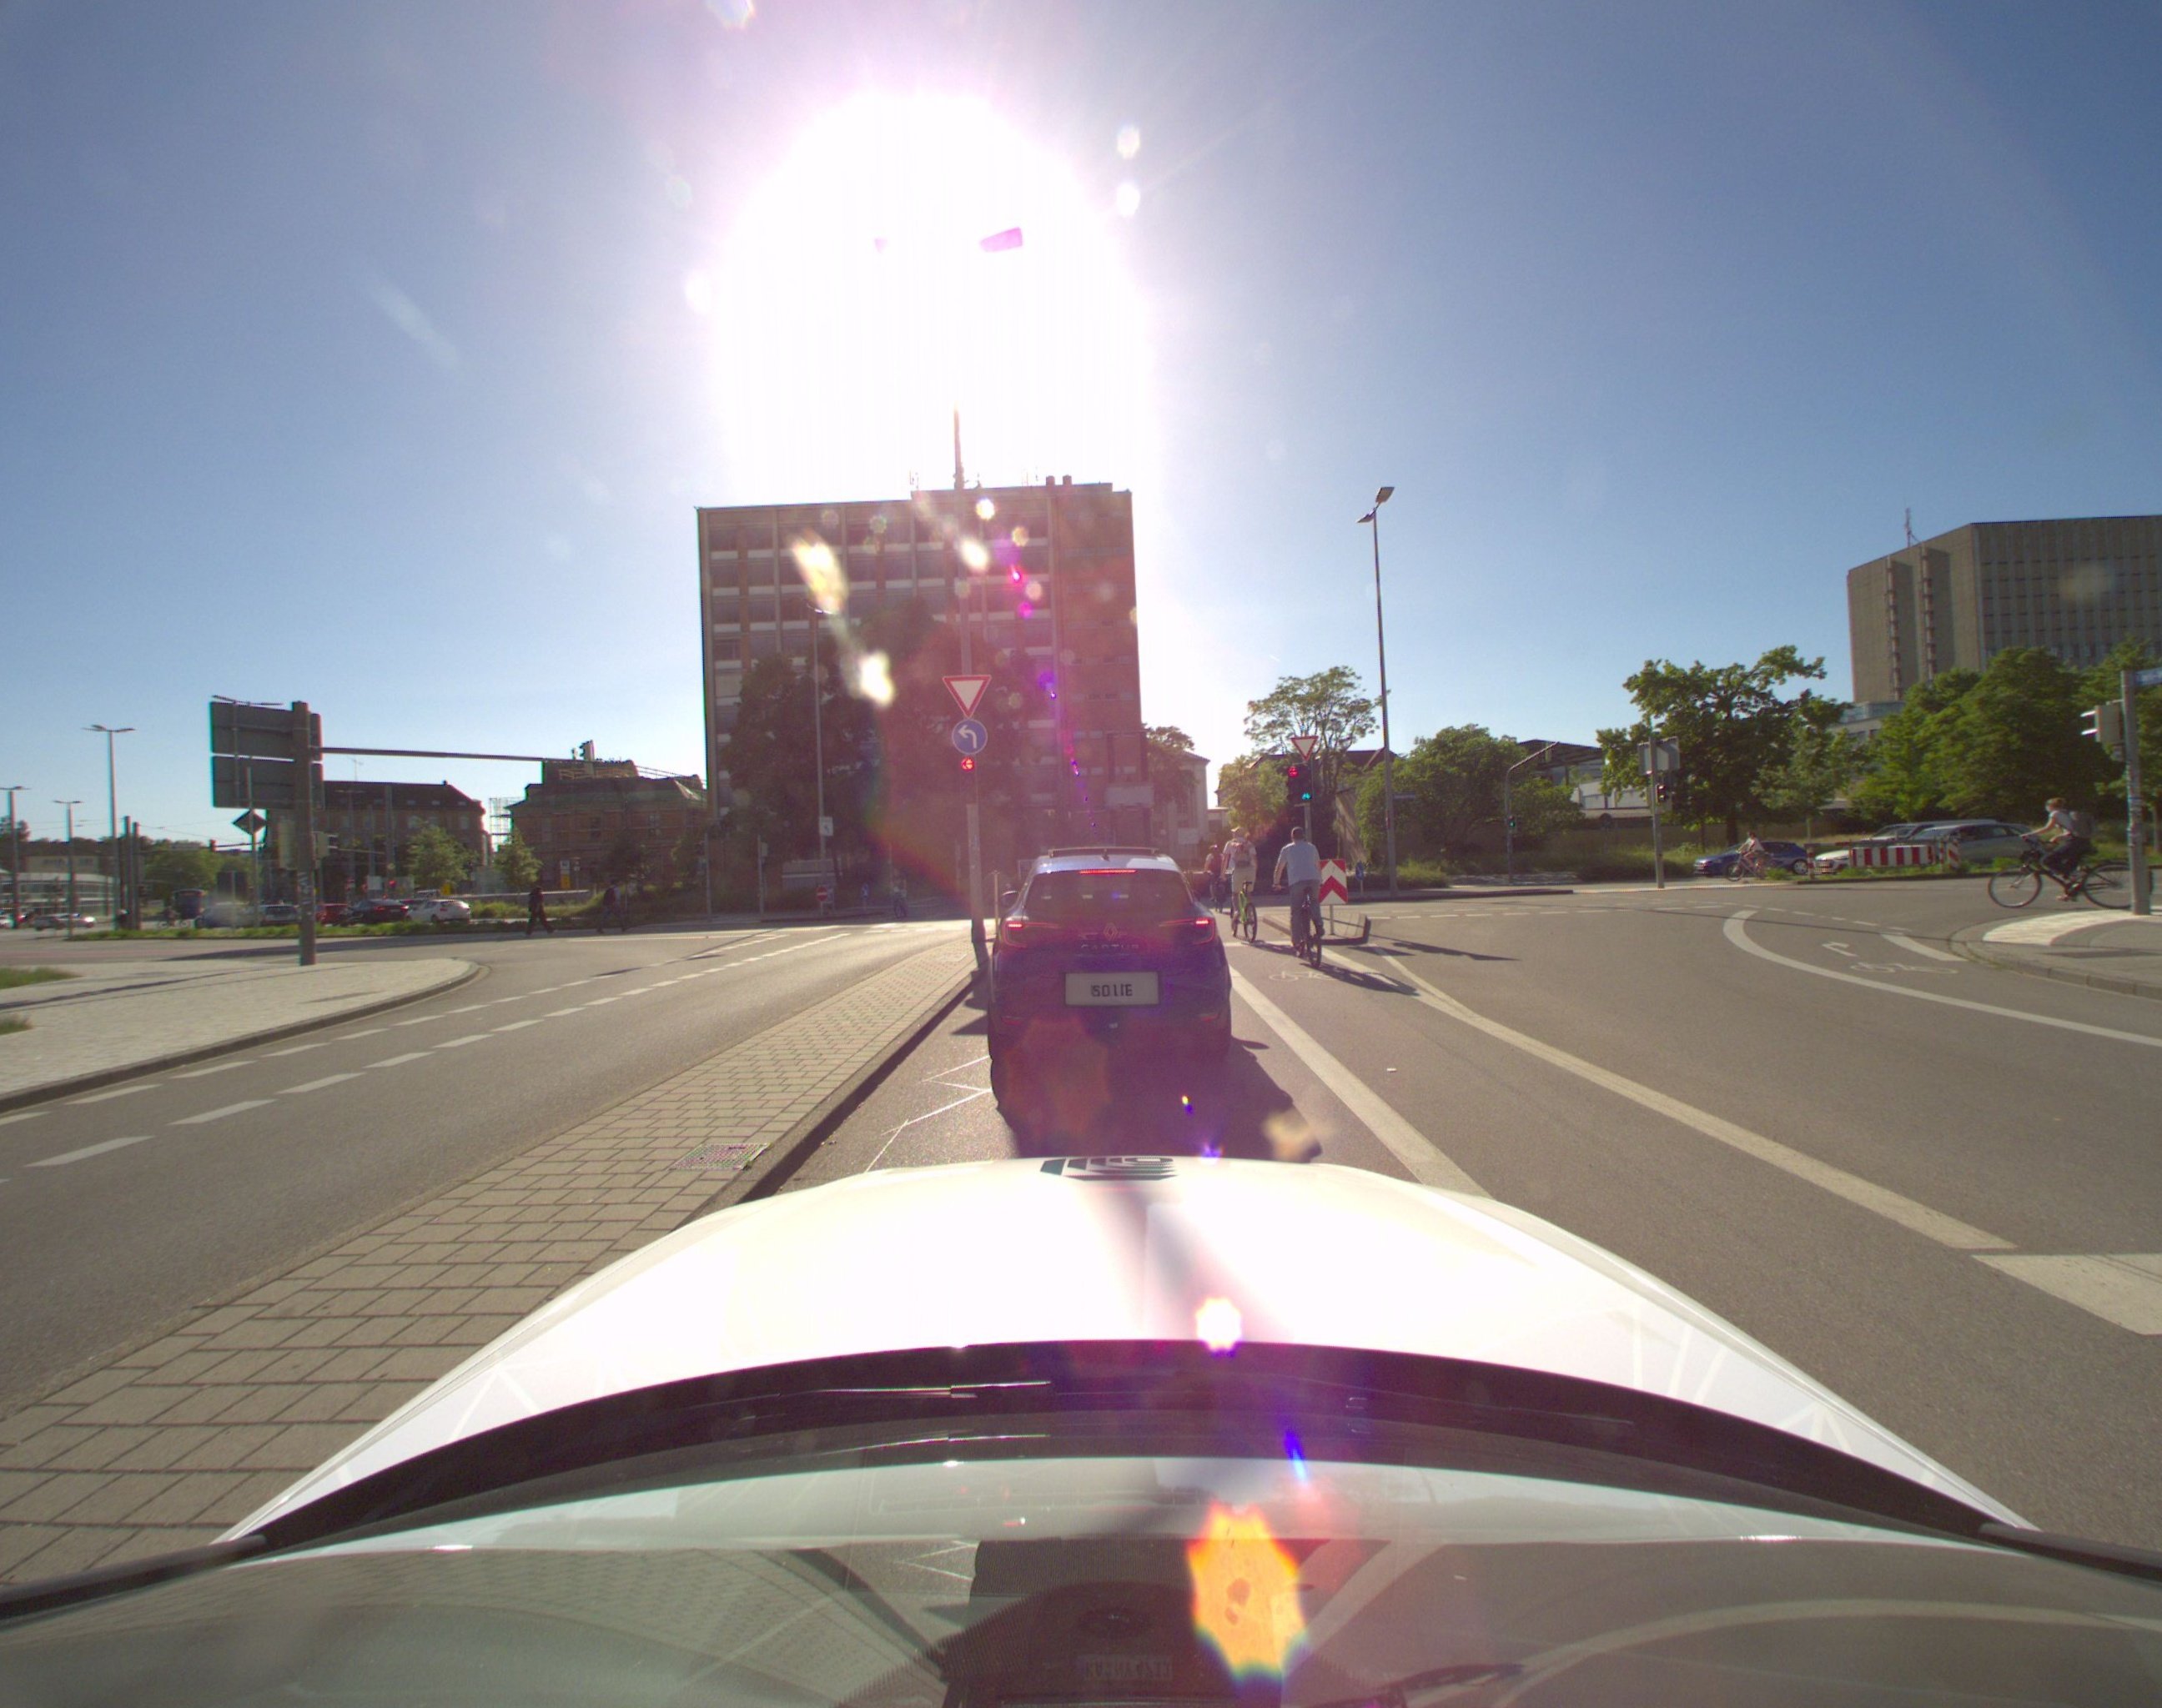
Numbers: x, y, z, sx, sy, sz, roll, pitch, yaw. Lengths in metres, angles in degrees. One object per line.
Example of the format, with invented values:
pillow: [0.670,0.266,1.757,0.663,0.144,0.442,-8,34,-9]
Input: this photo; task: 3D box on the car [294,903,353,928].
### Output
car: [-48.028,3.889,51.653,3.674,1.443,1.687,-3,-3,29]

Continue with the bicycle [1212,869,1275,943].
bicycle: [2.837,0.877,14.375,0.743,1.165,1.871,-2,0,2]

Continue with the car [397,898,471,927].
car: [-36.485,3.318,45.924,3.690,1.436,1.706,-3,-1,24]

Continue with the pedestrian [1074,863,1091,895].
pedestrian: [0.087,1.394,45.488,0.727,1.782,0.735,-1,-1,19]

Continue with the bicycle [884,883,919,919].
bicycle: [-6.451,1.677,29.362,0.743,1.165,1.871,-4,-1,2]

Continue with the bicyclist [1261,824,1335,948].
bicyclist: [2.965,0.424,11.230,0.717,1.617,0.978,-2,-1,1]

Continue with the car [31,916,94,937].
car: [-92.341,6.541,73.893,1.785,1.544,3.620,0,-1,-16]

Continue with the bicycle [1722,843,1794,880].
bicycle: [24.126,0.264,29.042,1.856,1.165,0.749,-4,-1,3]

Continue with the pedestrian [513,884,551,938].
pedestrian: [-17.182,1.781,25.497,0.710,1.612,0.686,-3,-2,28]

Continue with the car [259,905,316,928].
car: [-53.605,4.219,55.013,3.750,1.443,1.741,-3,-3,29]

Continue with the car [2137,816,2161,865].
car: [36.882,-0.550,25.479,4.685,1.554,1.986,-2,-2,5]

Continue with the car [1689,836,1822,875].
car: [28.166,0.077,34.123,3.967,1.442,1.707,-2,-2,5]

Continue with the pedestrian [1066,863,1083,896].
pedestrian: [-0.361,1.387,44.716,0.727,1.816,0.735,-1,-1,19]

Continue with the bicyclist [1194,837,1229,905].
bicyclist: [3.452,0.451,21.575,0.717,1.735,0.978,-2,-1,1]

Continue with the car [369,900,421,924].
car: [-50.402,4.278,59.830,3.578,1.618,1.894,-4,-3,31]

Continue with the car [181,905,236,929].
car: [-55.177,3.996,51.488,3.859,1.443,1.741,-3,-3,33]

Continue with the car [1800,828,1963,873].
car: [30.361,-0.115,31.035,3.962,1.469,2.005,-3,-1,10]

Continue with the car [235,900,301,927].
car: [-48.820,3.585,48.910,3.750,1.442,1.741,-3,-2,28]

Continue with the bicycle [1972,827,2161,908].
bicycle: [15.571,0.206,12.907,0.645,1.165,1.851,-4,1,-32]

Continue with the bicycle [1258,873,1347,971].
bicycle: [2.979,0.872,11.146,0.713,1.165,1.871,-2,0,1]

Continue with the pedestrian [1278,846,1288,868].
pedestrian: [15.634,0.237,63.001,0.670,1.643,0.739,-1,-1,17]

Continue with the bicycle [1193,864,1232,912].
bicycle: [3.476,0.871,21.619,0.743,1.165,1.871,-2,0,2]

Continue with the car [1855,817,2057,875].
car: [28.023,-0.209,26.205,4.281,1.625,1.792,-2,-2,5]

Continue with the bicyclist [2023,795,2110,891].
bicyclist: [15.566,-0.174,12.866,0.646,1.444,0.769,-4,1,-32]

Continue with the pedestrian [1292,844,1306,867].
pedestrian: [15.889,0.088,59.407,0.669,1.643,0.740,-1,-1,42]

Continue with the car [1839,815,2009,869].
car: [34.825,-0.451,33.764,4.718,1.953,1.942,-2,-2,5]

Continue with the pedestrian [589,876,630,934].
pedestrian: [-15.391,1.653,26.606,0.753,1.833,1.093,-2,-2,-6]

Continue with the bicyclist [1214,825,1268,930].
bicyclist: [2.808,0.407,14.413,0.717,1.763,0.978,-2,-1,1]

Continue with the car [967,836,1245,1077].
car: [0.229,0.703,7.391,1.870,1.617,3.799,0,0,2]

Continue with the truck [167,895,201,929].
truck: [-105.357,6.705,95.641,5.159,3.675,2.618,-1,-1,42]

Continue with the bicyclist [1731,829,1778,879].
bicyclist: [24.014,-0.005,29.049,0.970,1.685,0.747,-4,-1,3]

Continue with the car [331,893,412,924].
car: [-42.684,3.300,48.995,4.324,1.624,2.002,-3,-1,24]

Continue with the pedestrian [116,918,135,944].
pedestrian: [-62.649,5.038,53.397,0.565,1.611,0.573,0,-1,1]

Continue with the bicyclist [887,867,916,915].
bicyclist: [-6.469,1.318,29.347,0.717,1.621,0.978,-4,-1,1]
